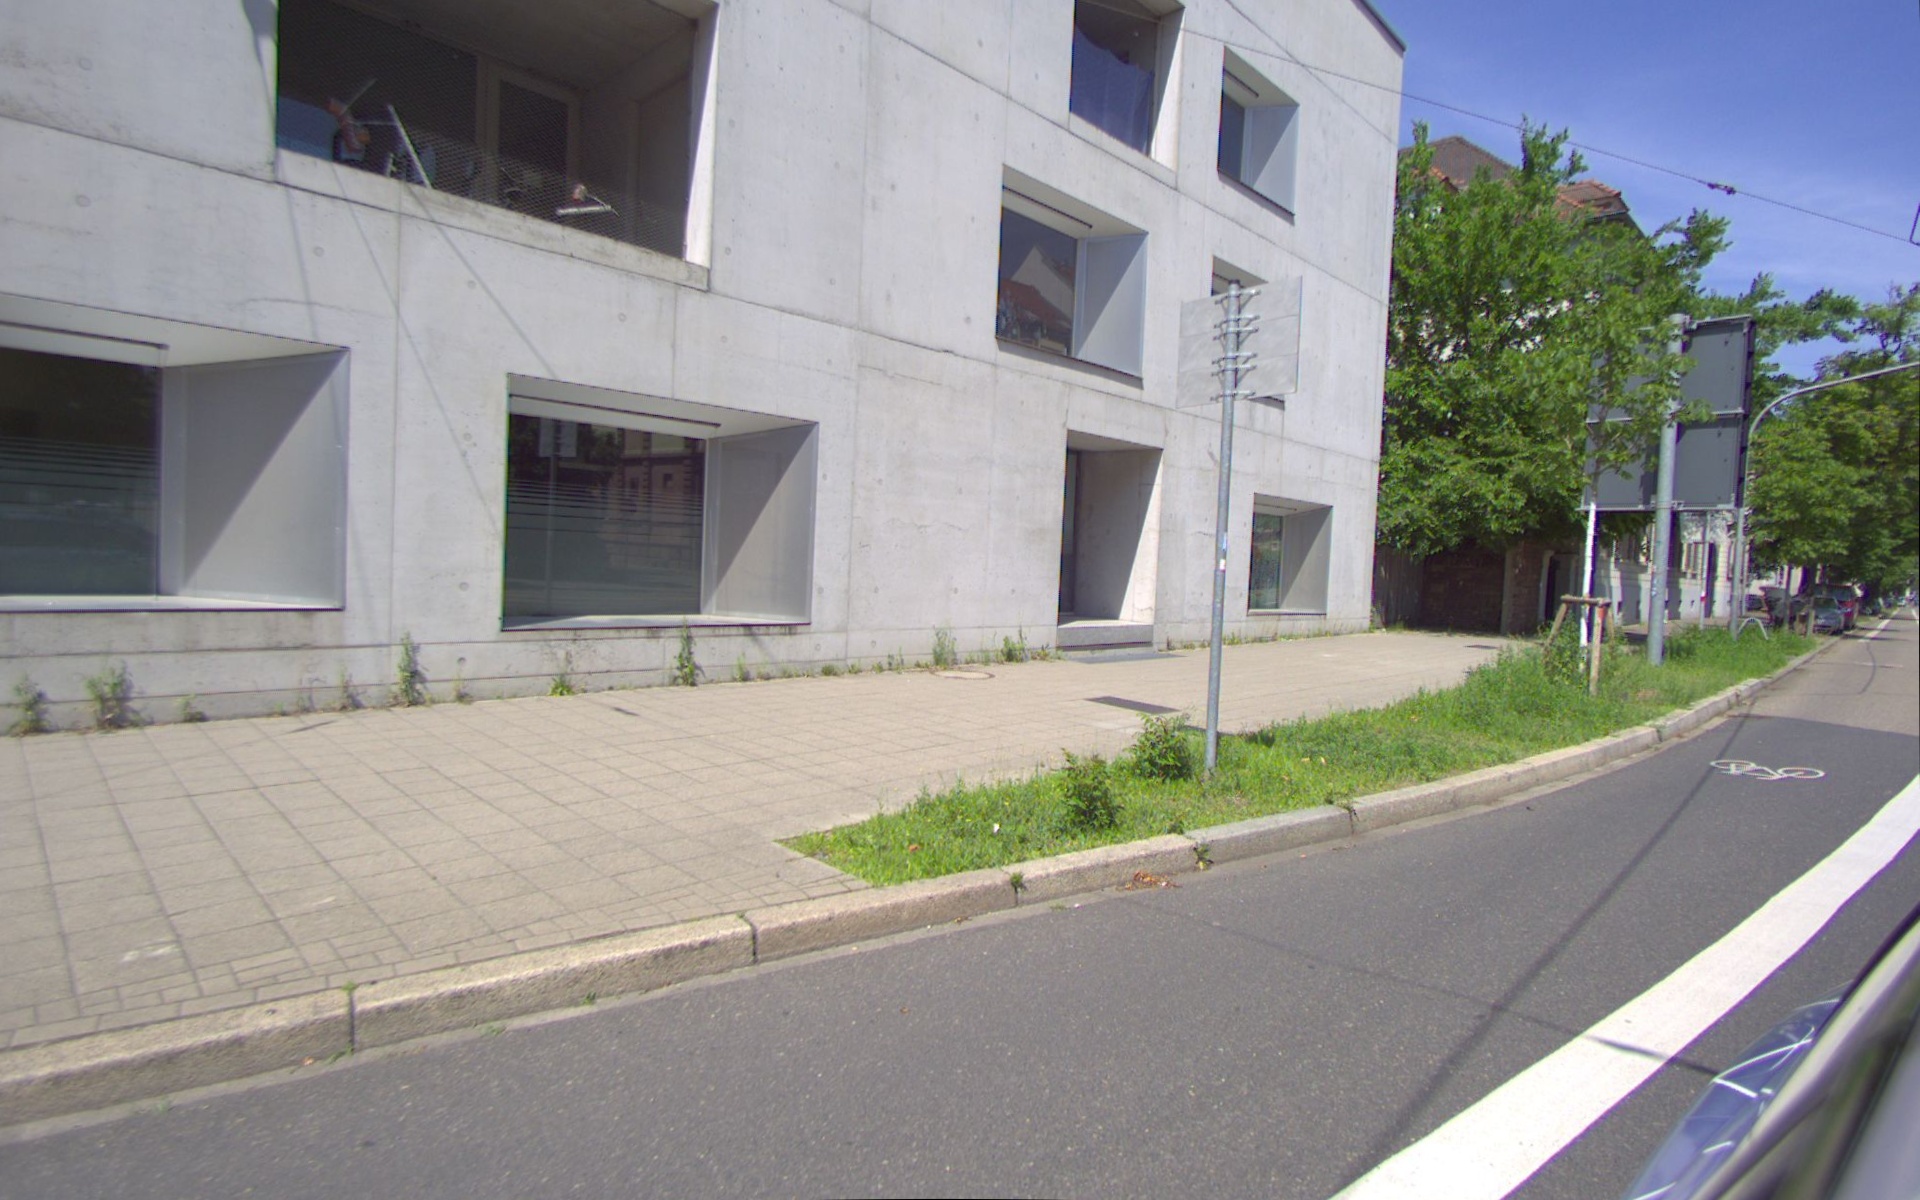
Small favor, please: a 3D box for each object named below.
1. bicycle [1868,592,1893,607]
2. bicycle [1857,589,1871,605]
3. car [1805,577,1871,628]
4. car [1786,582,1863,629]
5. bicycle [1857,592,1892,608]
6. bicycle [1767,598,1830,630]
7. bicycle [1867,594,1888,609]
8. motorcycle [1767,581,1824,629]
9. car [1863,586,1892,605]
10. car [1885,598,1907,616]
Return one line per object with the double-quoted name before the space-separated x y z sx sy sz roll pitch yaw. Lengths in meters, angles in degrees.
"bicycle" 81.608 -0.055 89.725 0.300 1.215 1.621 -1 3 -44
"bicycle" 71.269 -0.248 79.821 0.280 1.215 1.615 2 3 24
"car" 38.701 0.055 44.568 1.861 2.038 4.897 4 4 44
"car" 32.891 0.159 38.456 1.861 1.596 4.800 4 3 44
"bicycle" 75.078 0.010 83.072 0.437 1.215 2.041 1 3 -36
"bicycle" 30.001 0.474 36.228 0.365 1.028 1.659 0 3 -45
"bicycle" 72.125 0.115 79.522 0.275 1.076 1.169 -1 4 -42
"motorcycle" 27.861 0.175 33.722 2.509 1.524 0.748 1 3 -35
"car" 78.278 -0.367 86.322 1.593 1.469 3.574 6 4 44
"car" 91.556 0.663 98.975 1.536 1.563 3.937 4 3 43
